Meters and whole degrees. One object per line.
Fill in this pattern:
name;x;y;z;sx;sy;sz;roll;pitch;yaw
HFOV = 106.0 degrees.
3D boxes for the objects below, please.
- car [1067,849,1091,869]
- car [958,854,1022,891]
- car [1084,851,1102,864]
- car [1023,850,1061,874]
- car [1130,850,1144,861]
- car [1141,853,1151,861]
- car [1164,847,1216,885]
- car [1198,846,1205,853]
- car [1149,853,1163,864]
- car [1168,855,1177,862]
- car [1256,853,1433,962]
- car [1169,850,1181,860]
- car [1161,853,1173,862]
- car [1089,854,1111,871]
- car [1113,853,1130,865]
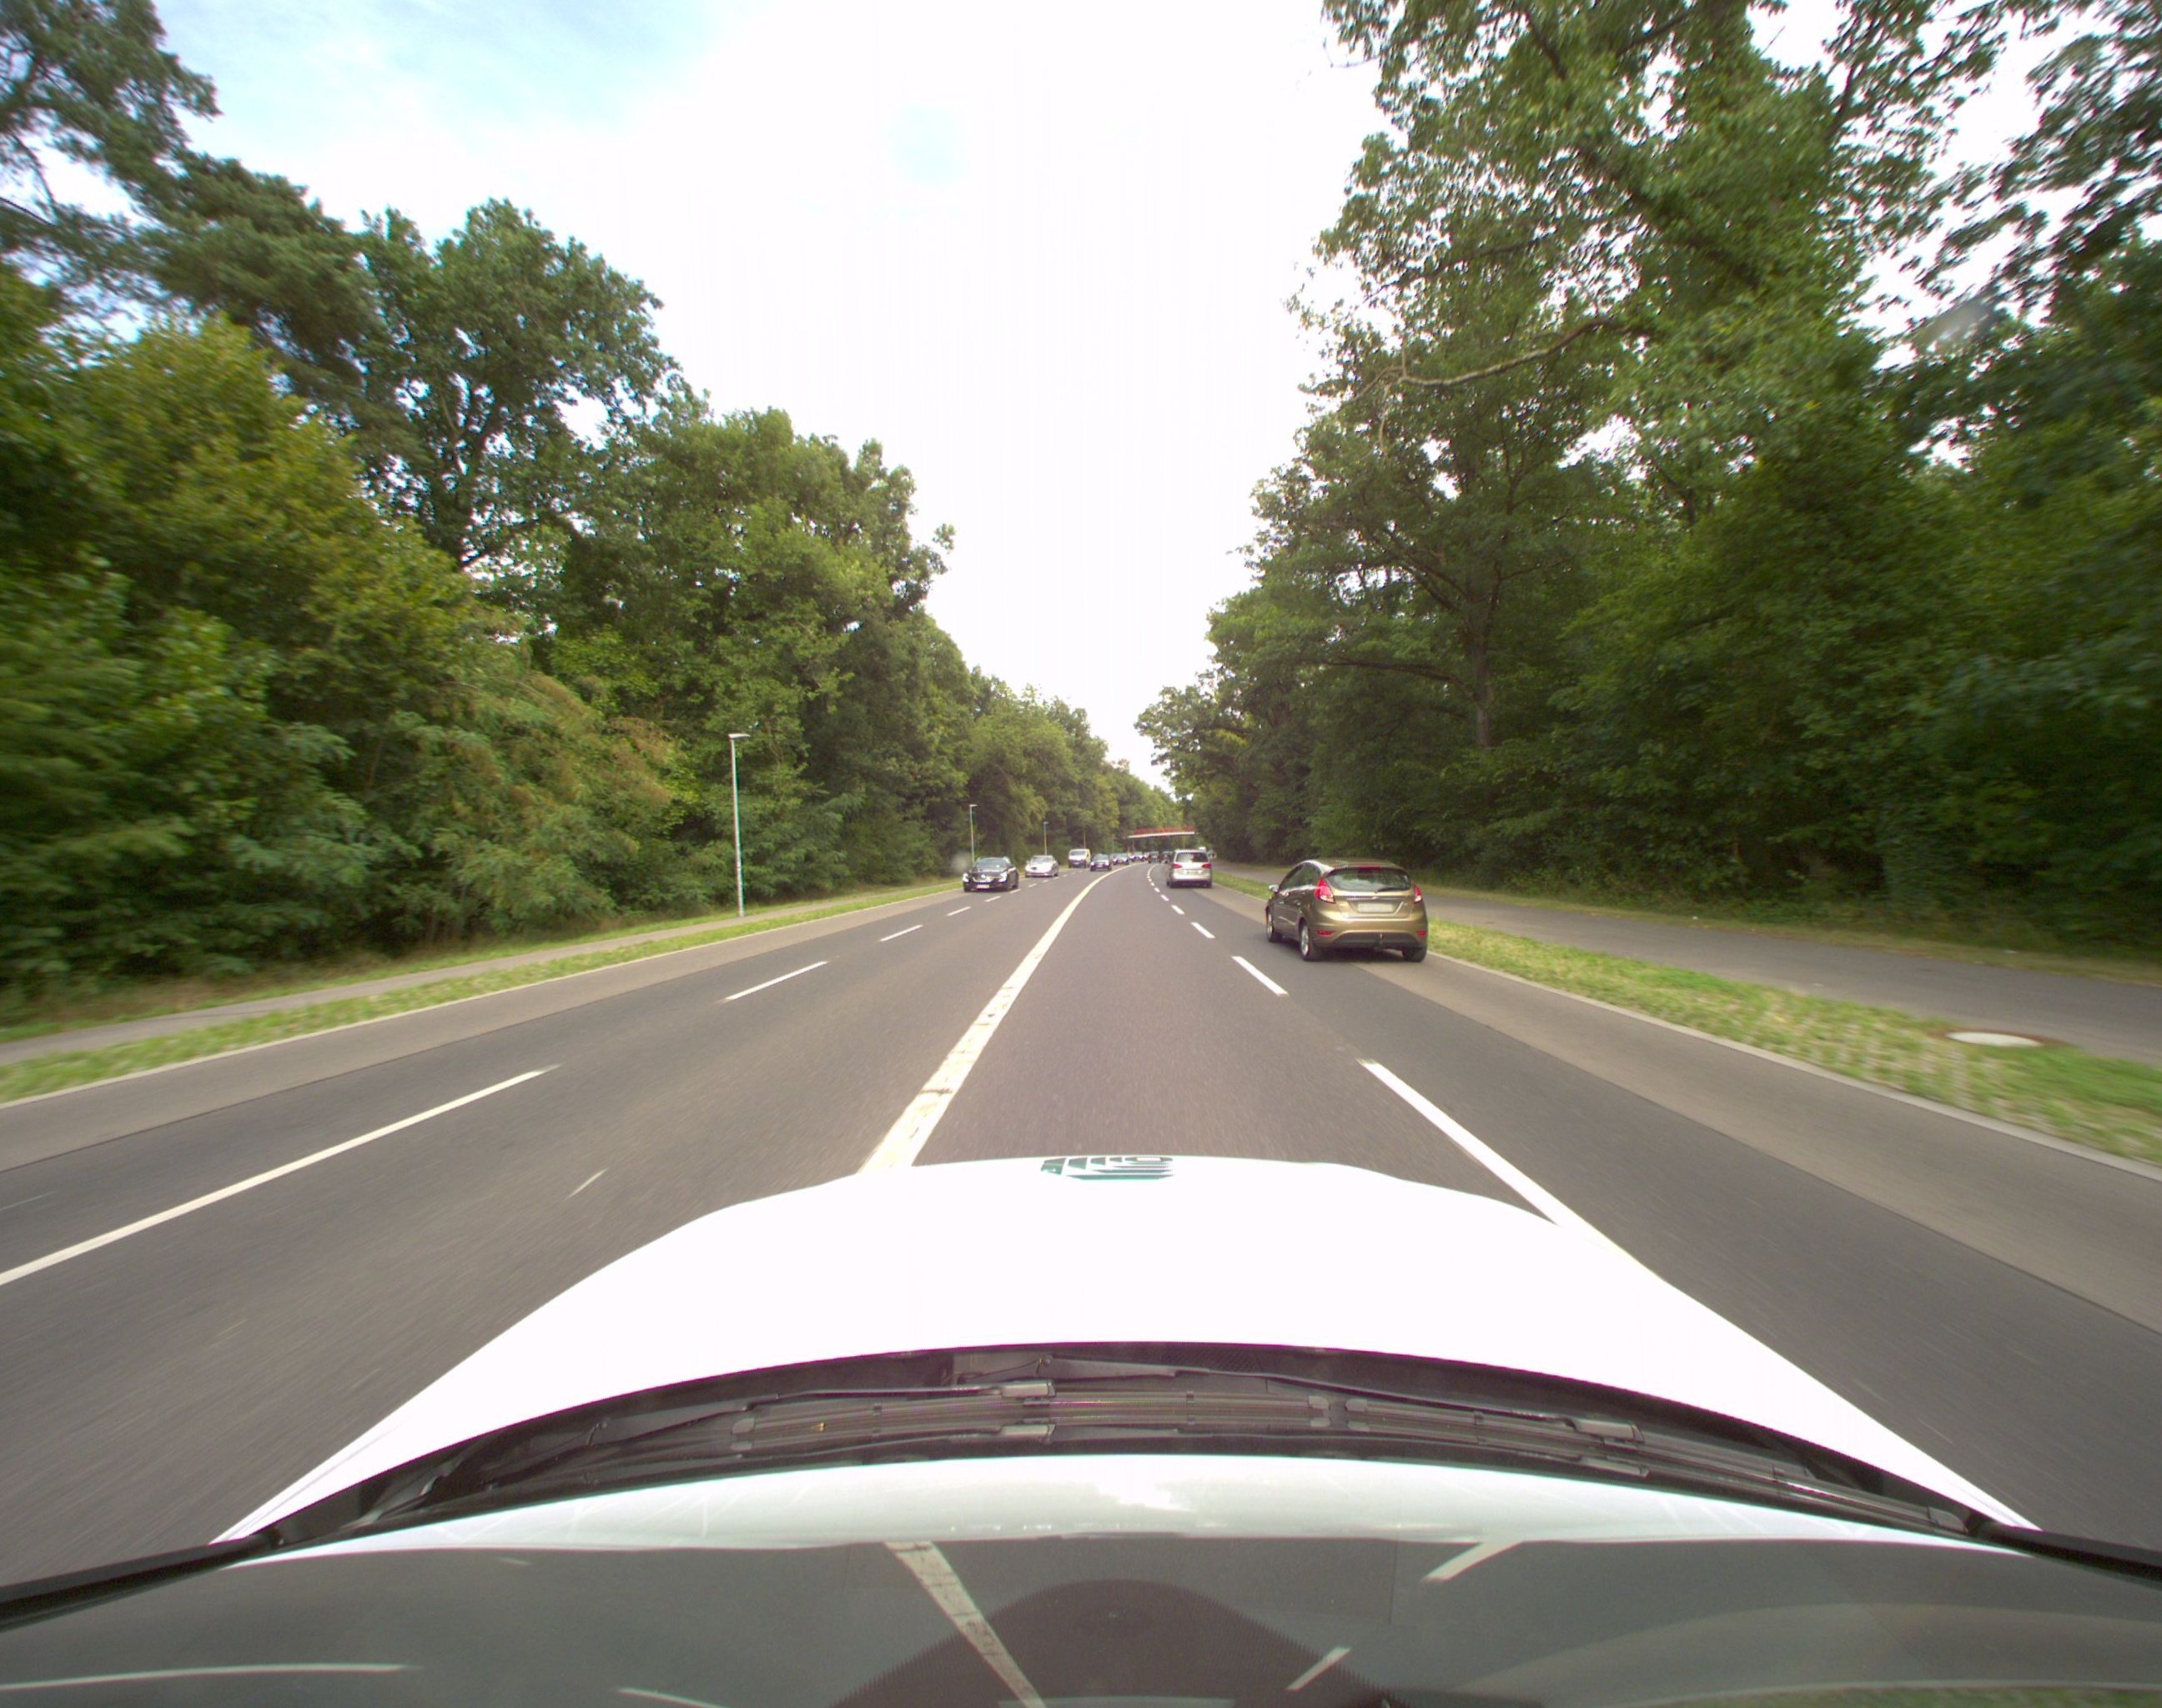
car;-0.145;0.550;86.738;1.983;2.014;5.062;-2;-1;6
car;-3.842;0.777;35.059;1.872;1.443;4.409;1;-1;5
car;1.488;0.439;102.754;1.876;1.558;4.525;-1;-1;6
car;-2.580;0.554;55.068;1.984;1.563;4.610;1;-1;5
car;9.217;0.293;133.761;1.952;1.706;4.008;-4;-1;7
car;12.528;0.604;156.738;1.690;1.386;3.831;-4;-1;5
car;4.854;0.545;36.721;1.985;1.607;4.002;1;-1;3
car;34.179;-1.257;230.781;1.981;1.706;4.012;-1;0;10
car;10.779;0.664;117.443;1.719;1.587;4.010;1;-1;9
car;19.396;0.947;171.931;1.809;1.566;4.005;1;-1;5
car;3.919;0.731;12.763;1.629;1.420;4.002;1;-1;2
car;16.830;0.195;145.403;1.982;1.750;4.009;1;-1;8
car;16.618;0.643;157.391;1.982;1.697;4.010;1;-1;9
car;1.705;0.779;72.204;1.648;1.486;3.872;1;-1;5
car;5.100;0.610;102.705;1.876;1.478;4.525;1;-1;6
